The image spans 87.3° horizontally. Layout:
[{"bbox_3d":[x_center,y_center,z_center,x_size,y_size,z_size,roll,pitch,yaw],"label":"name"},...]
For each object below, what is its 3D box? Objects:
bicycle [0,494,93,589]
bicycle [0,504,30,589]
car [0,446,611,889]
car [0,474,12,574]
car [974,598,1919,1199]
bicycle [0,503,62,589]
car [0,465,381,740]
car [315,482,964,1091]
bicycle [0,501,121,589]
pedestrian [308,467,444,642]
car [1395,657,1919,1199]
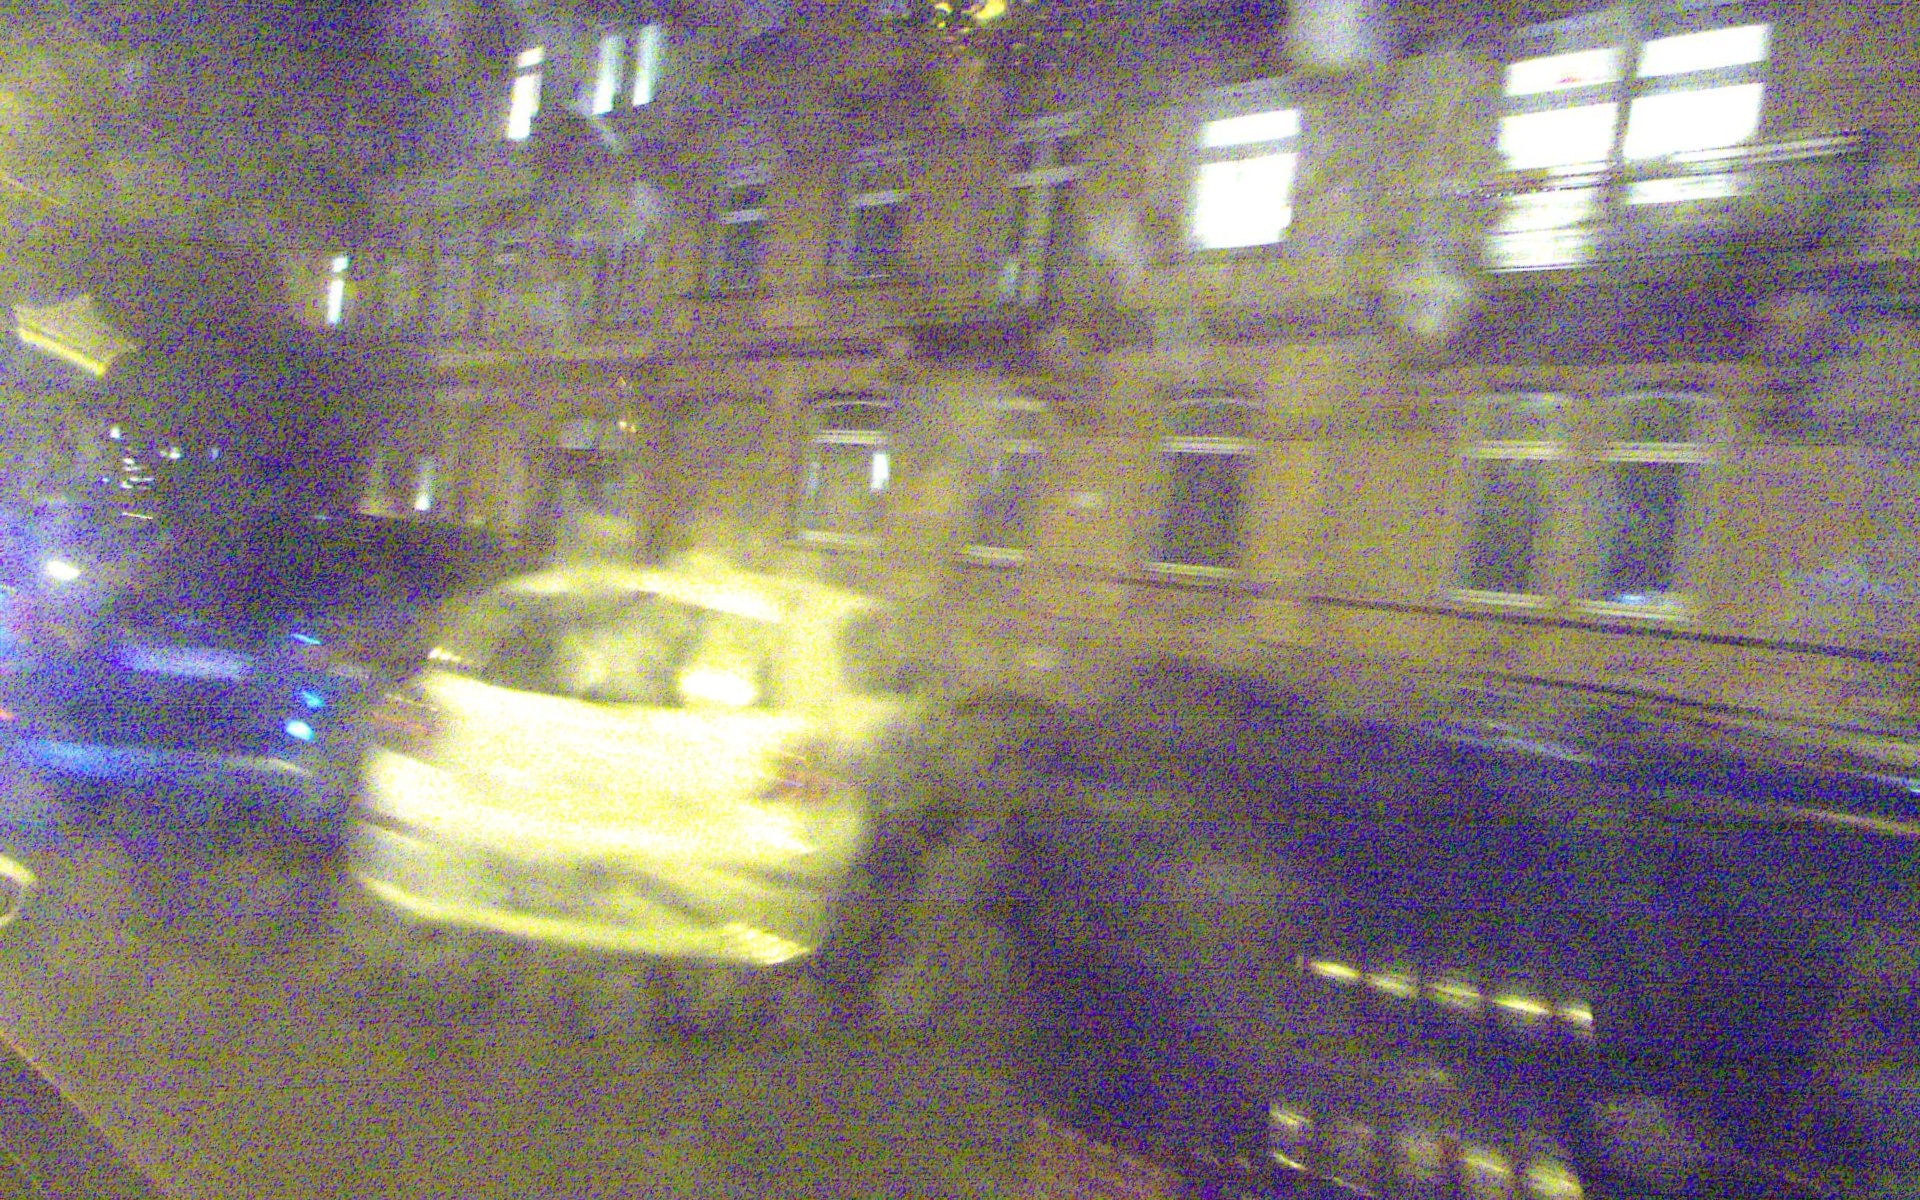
[{"bbox_3d":[-13.372,-0.856,14.205,1.793,1.206,0.446,7,2,0],"label":"bicycle"},{"bbox_3d":[-13.400,-0.795,13.229,1.793,1.090,0.519,7,2,1],"label":"bicycle"},{"bbox_3d":[-3.333,0.285,5.840,1.565,1.600,3.649,7,0,-7],"label":"car"},{"bbox_3d":[-15.642,-1.225,13.553,1.701,1.512,3.998,6,1,5],"label":"car"},{"bbox_3d":[1.011,0.849,2.697,1.575,1.479,3.680,6,1,-3],"label":"car"},{"bbox_3d":[-13.381,-0.799,13.732,1.793,1.090,0.446,7,2,0],"label":"bicycle"},{"bbox_3d":[-6.265,-0.102,7.724,1.563,1.601,3.649,6,2,-3],"label":"car"},{"bbox_3d":[-0.961,0.578,4.804,1.562,1.600,3.655,7,0,4],"label":"car"},{"bbox_3d":[-13.356,-0.812,14.670,1.793,1.090,0.446,7,2,0],"label":"bicycle"},{"bbox_3d":[-6.721,-0.512,11.592,0.976,1.880,0.869,7,3,29],"label":"pedestrian"},{"bbox_3d":[3.146,1.115,2.971,1.657,1.470,3.997,6,0,-3],"label":"car"}]
